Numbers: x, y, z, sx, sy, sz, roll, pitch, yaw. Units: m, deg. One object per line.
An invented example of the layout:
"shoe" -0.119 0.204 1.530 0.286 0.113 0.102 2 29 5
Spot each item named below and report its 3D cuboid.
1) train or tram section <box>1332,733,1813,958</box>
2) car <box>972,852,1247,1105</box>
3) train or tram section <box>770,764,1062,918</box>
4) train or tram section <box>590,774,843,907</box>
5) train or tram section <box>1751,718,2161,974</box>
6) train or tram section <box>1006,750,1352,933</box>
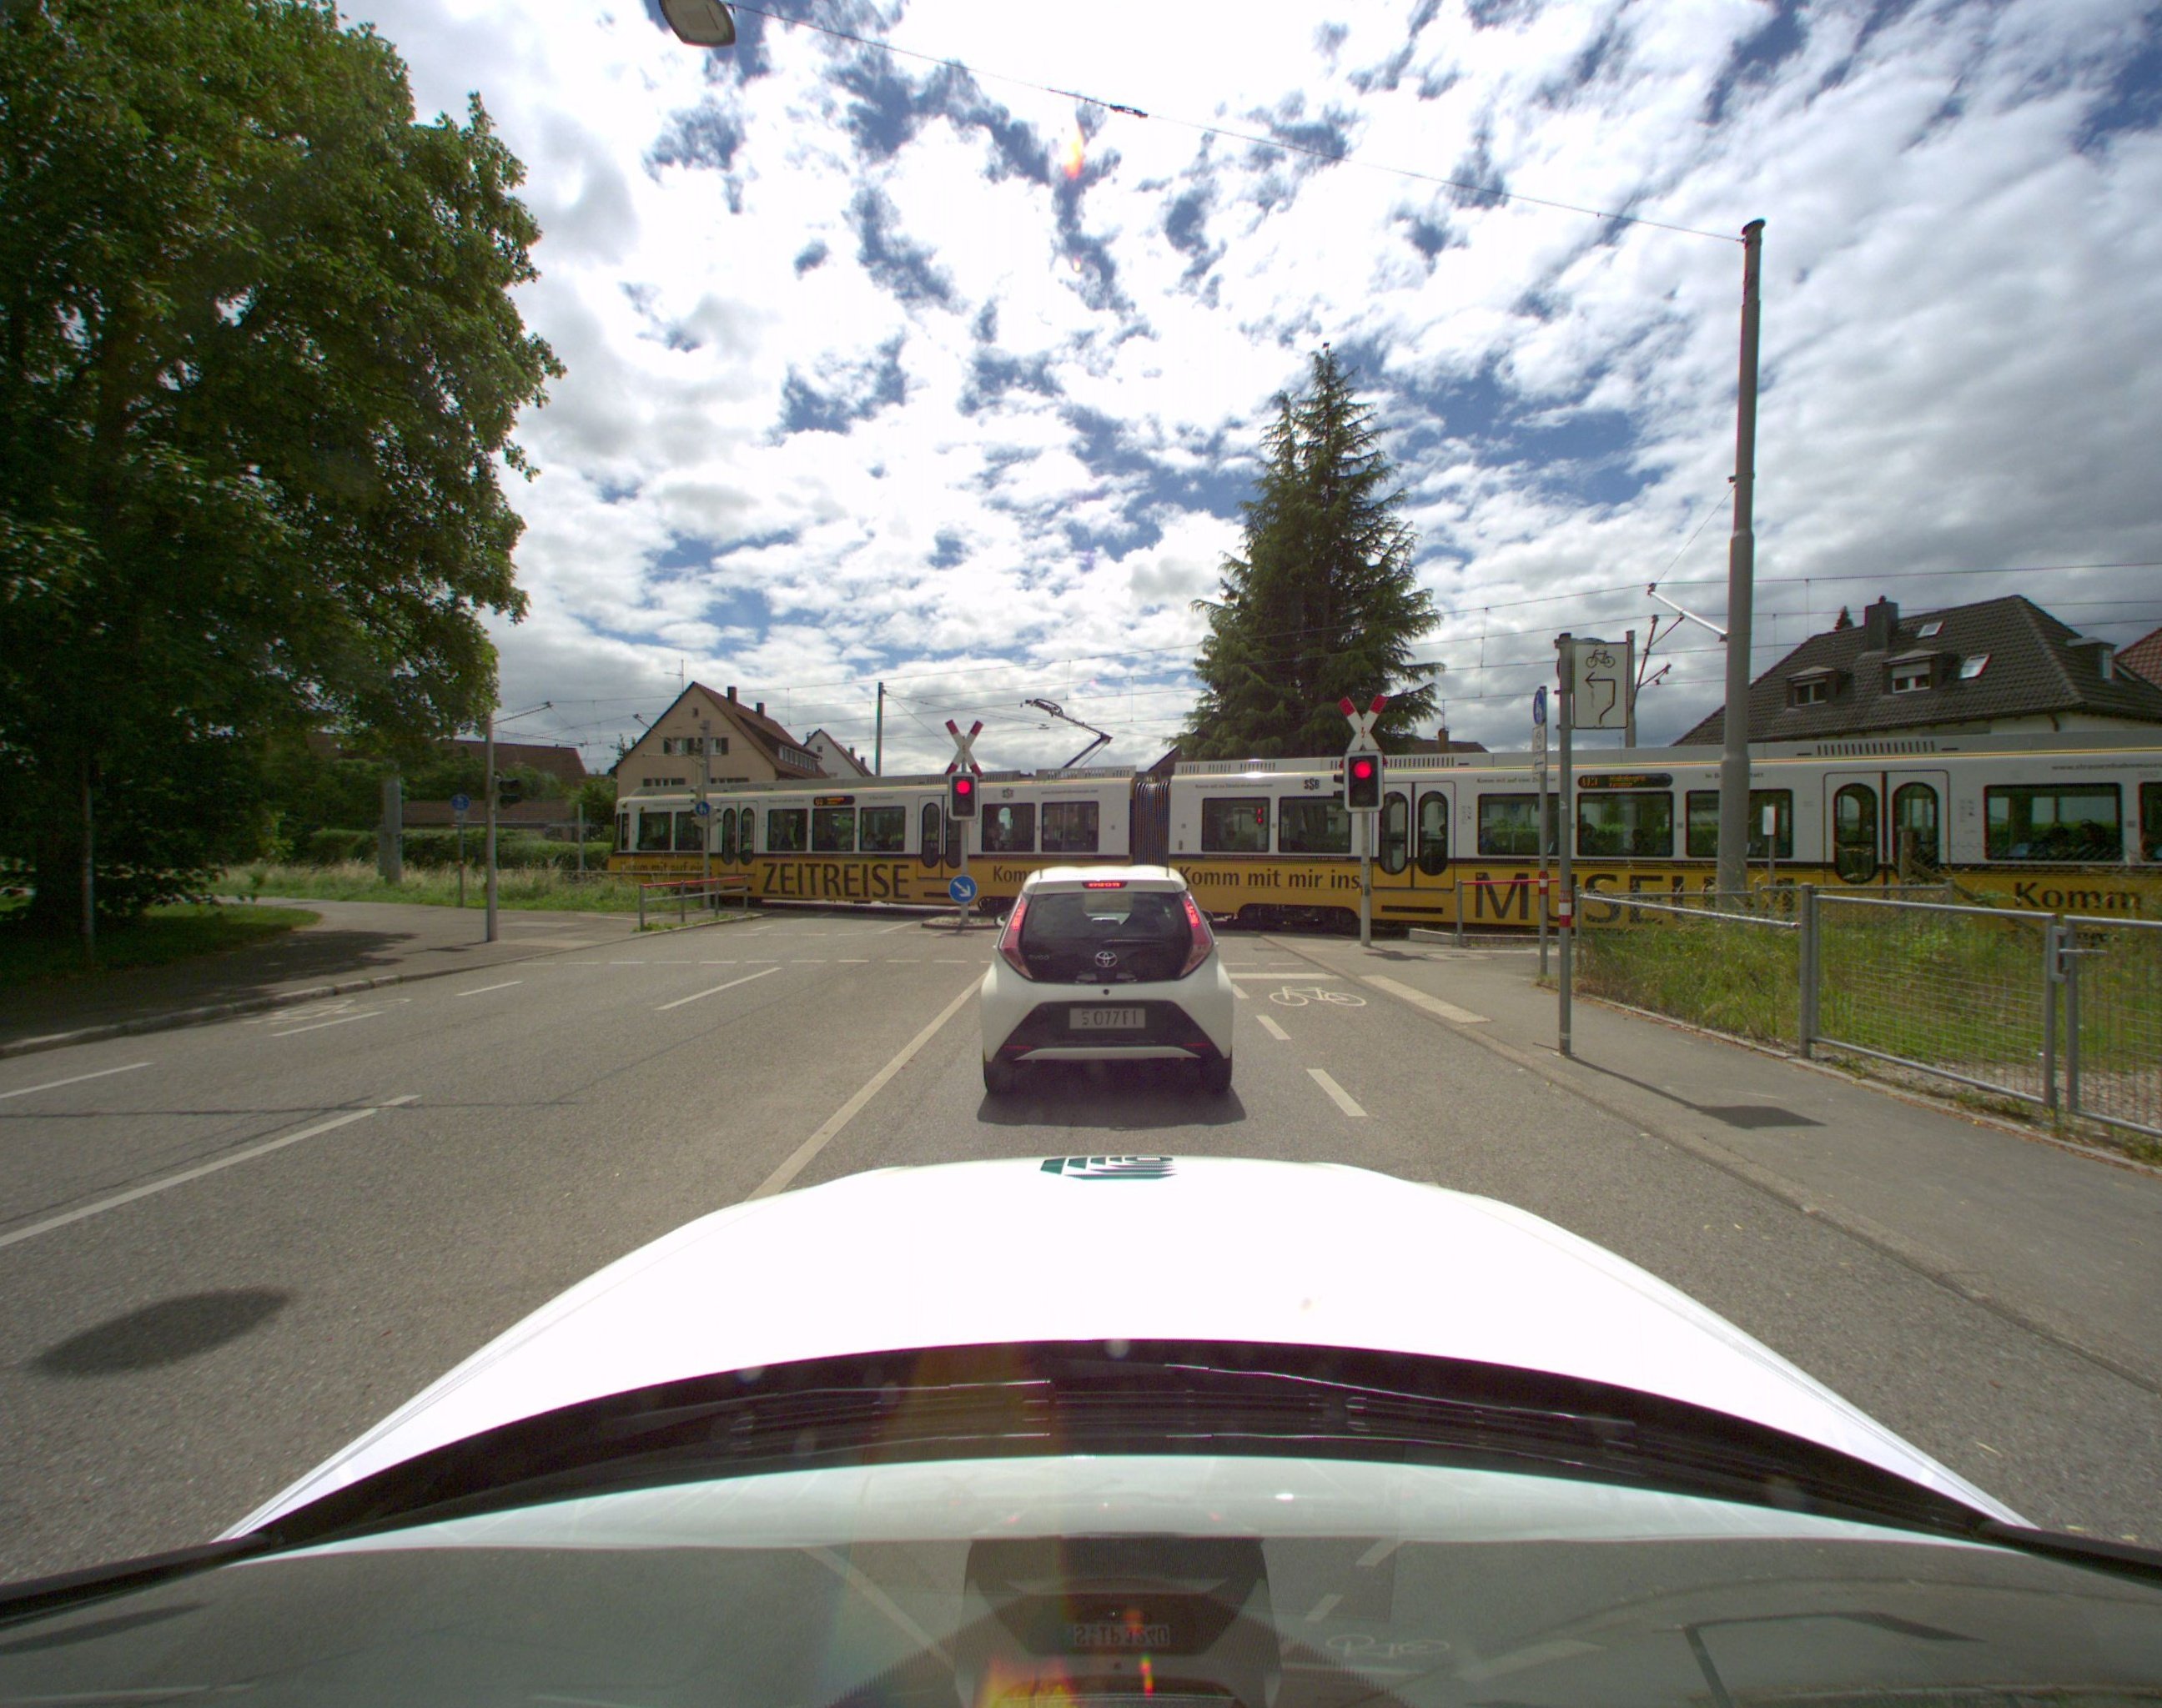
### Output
"train or tram section" 9.203 -0.172 16.329 7.622 3.721 2.886 1 0 24
"car" 0.231 0.760 6.857 1.615 1.486 4.001 -1 -1 2
"train or tram section" -4.622 -0.343 22.573 7.622 3.721 2.886 1 0 24
"train or tram section" -11.533 -0.425 25.706 7.622 3.721 2.886 1 0 24
"train or tram section" 16.128 -0.116 13.208 7.622 3.721 2.886 1 0 24
"train or tram section" 2.293 -0.286 19.450 7.622 3.721 2.886 1 0 24
